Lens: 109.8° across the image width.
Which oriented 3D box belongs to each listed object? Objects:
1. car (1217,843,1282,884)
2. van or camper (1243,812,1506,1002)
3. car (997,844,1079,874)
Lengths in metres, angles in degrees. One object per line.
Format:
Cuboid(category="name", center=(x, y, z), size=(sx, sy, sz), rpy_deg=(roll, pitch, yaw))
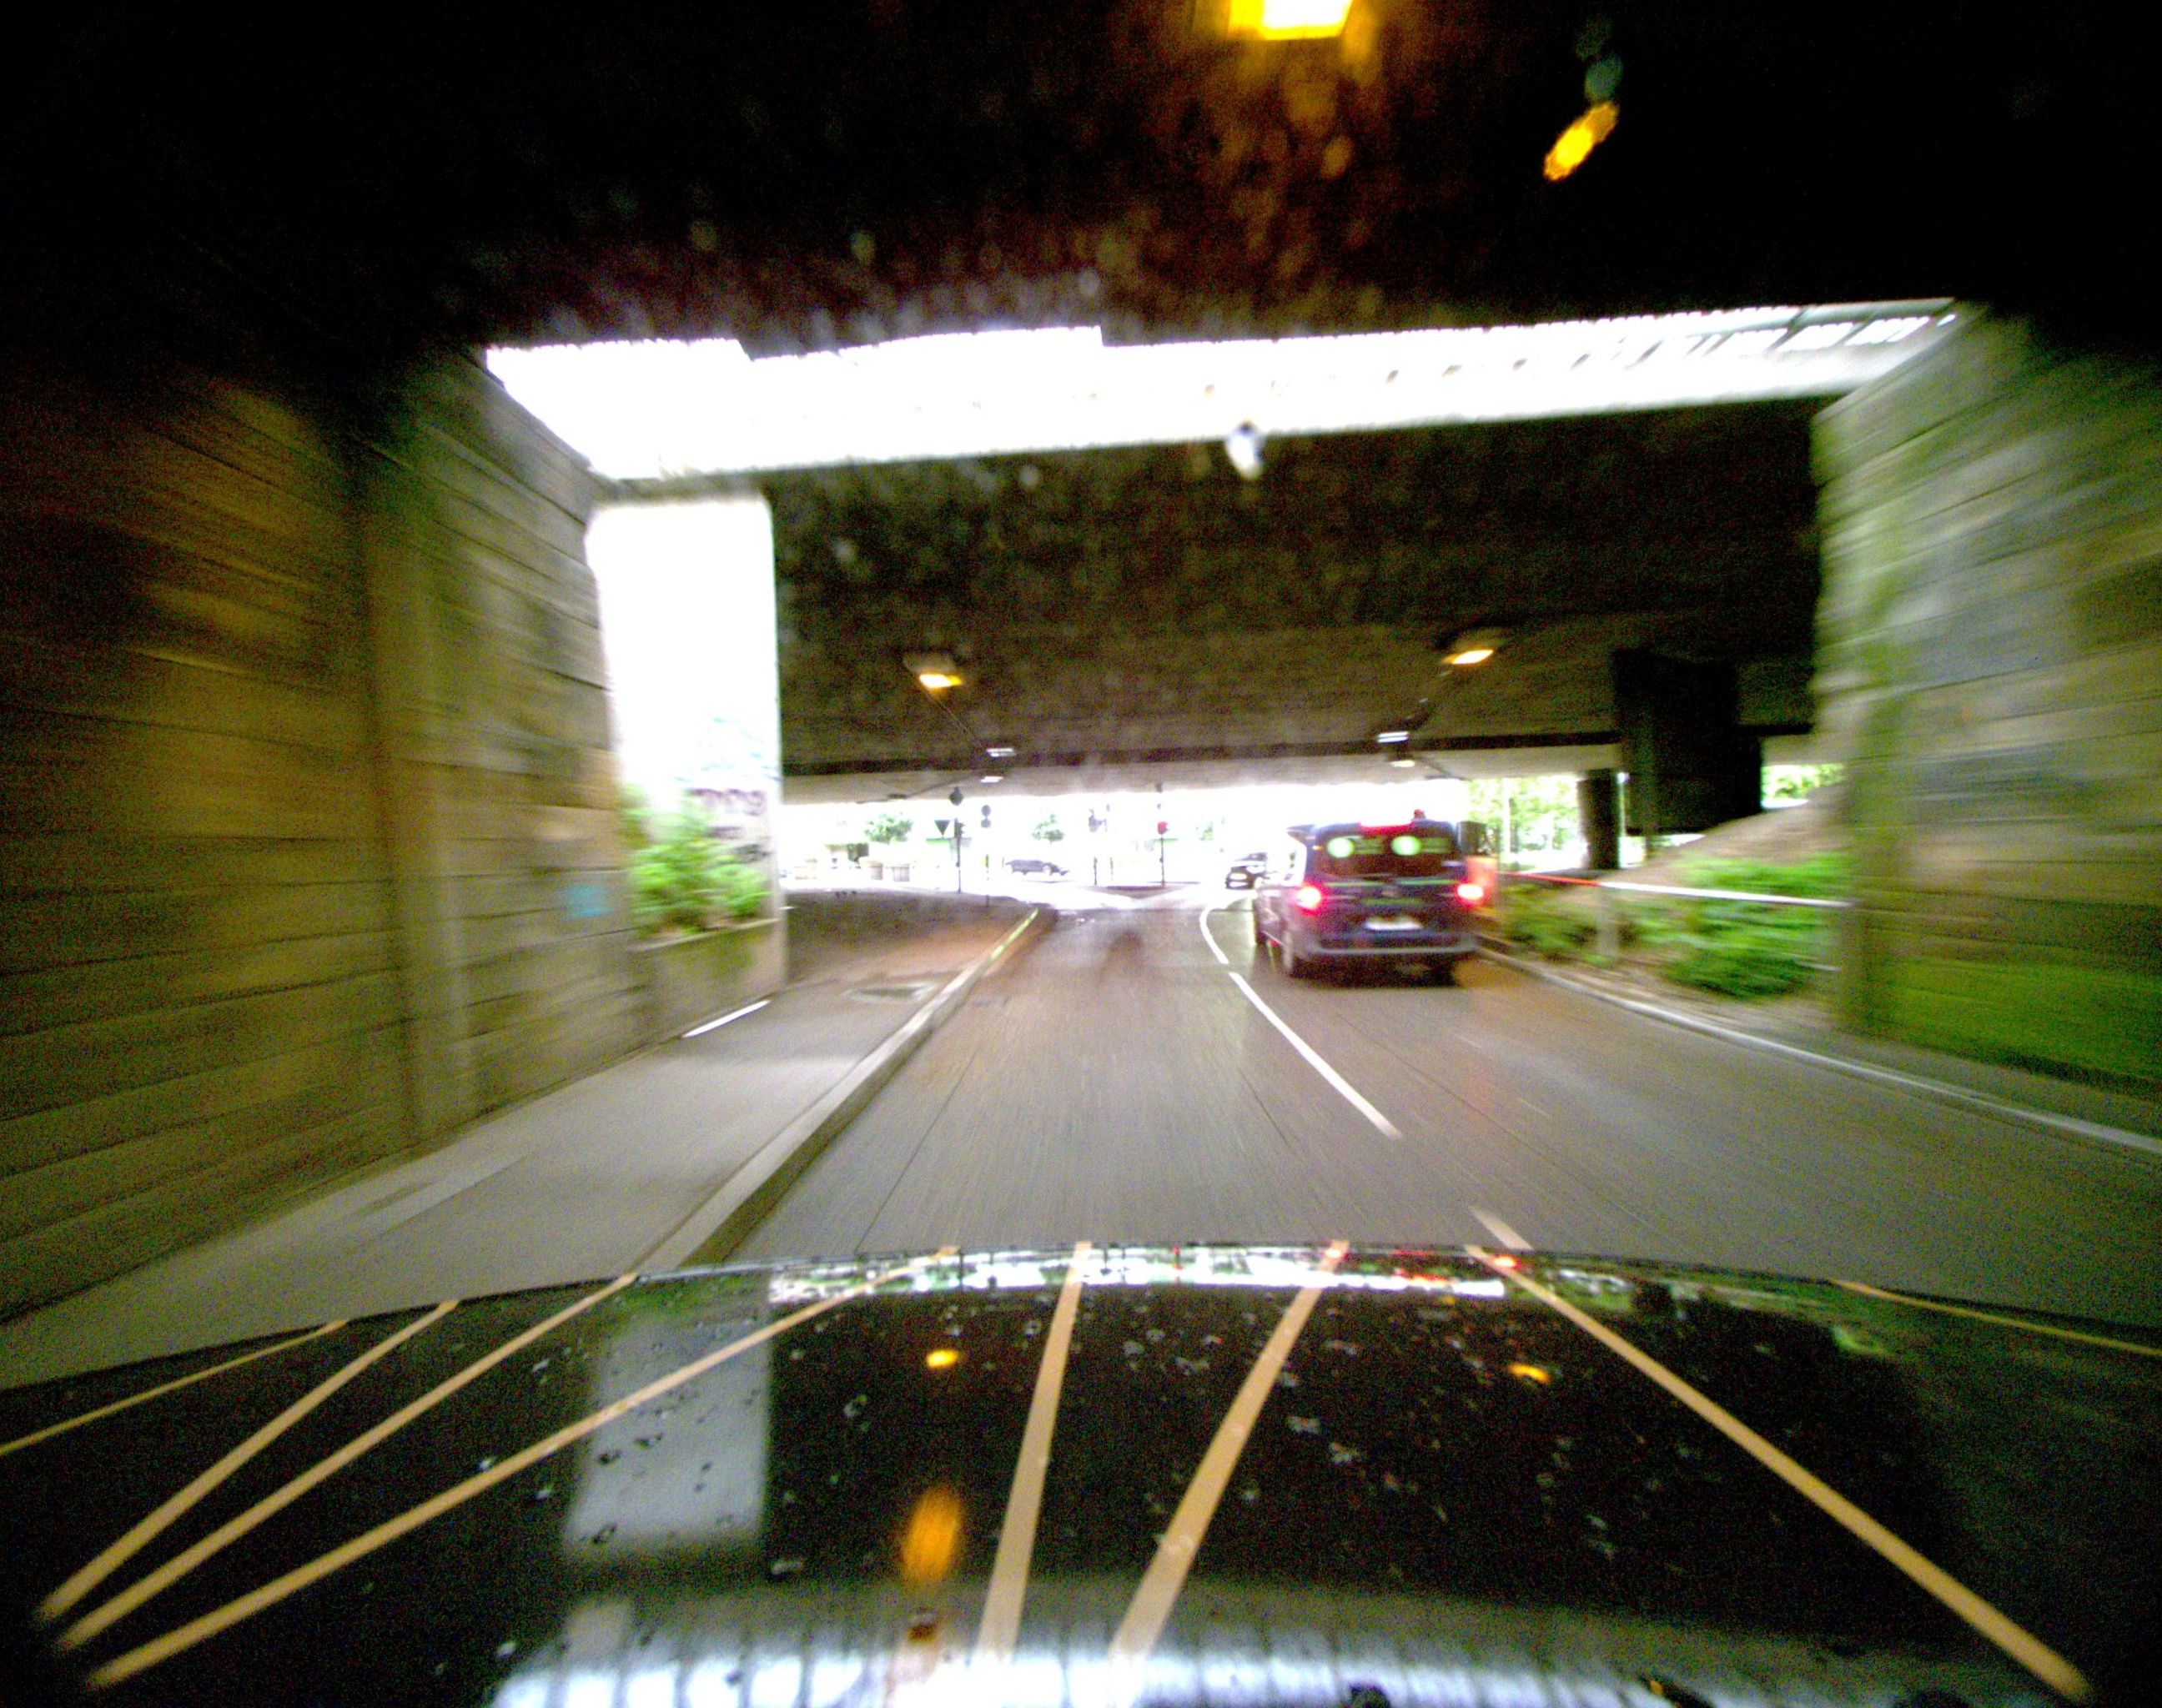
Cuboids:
Cuboid(category="car", center=(6.863, 0.395, 30.706), size=(1.704, 1.548, 4.007), rpy_deg=(-1, -1, 25))
Cuboid(category="van or camper", center=(3.454, 0.484, 10.128), size=(1.997, 1.858, 5.140), rpy_deg=(-1, 1, 6))
Cuboid(category="car", center=(-2.399, 0.290, 42.697), size=(4.223, 1.571, 1.772), rpy_deg=(0, 3, 26))
